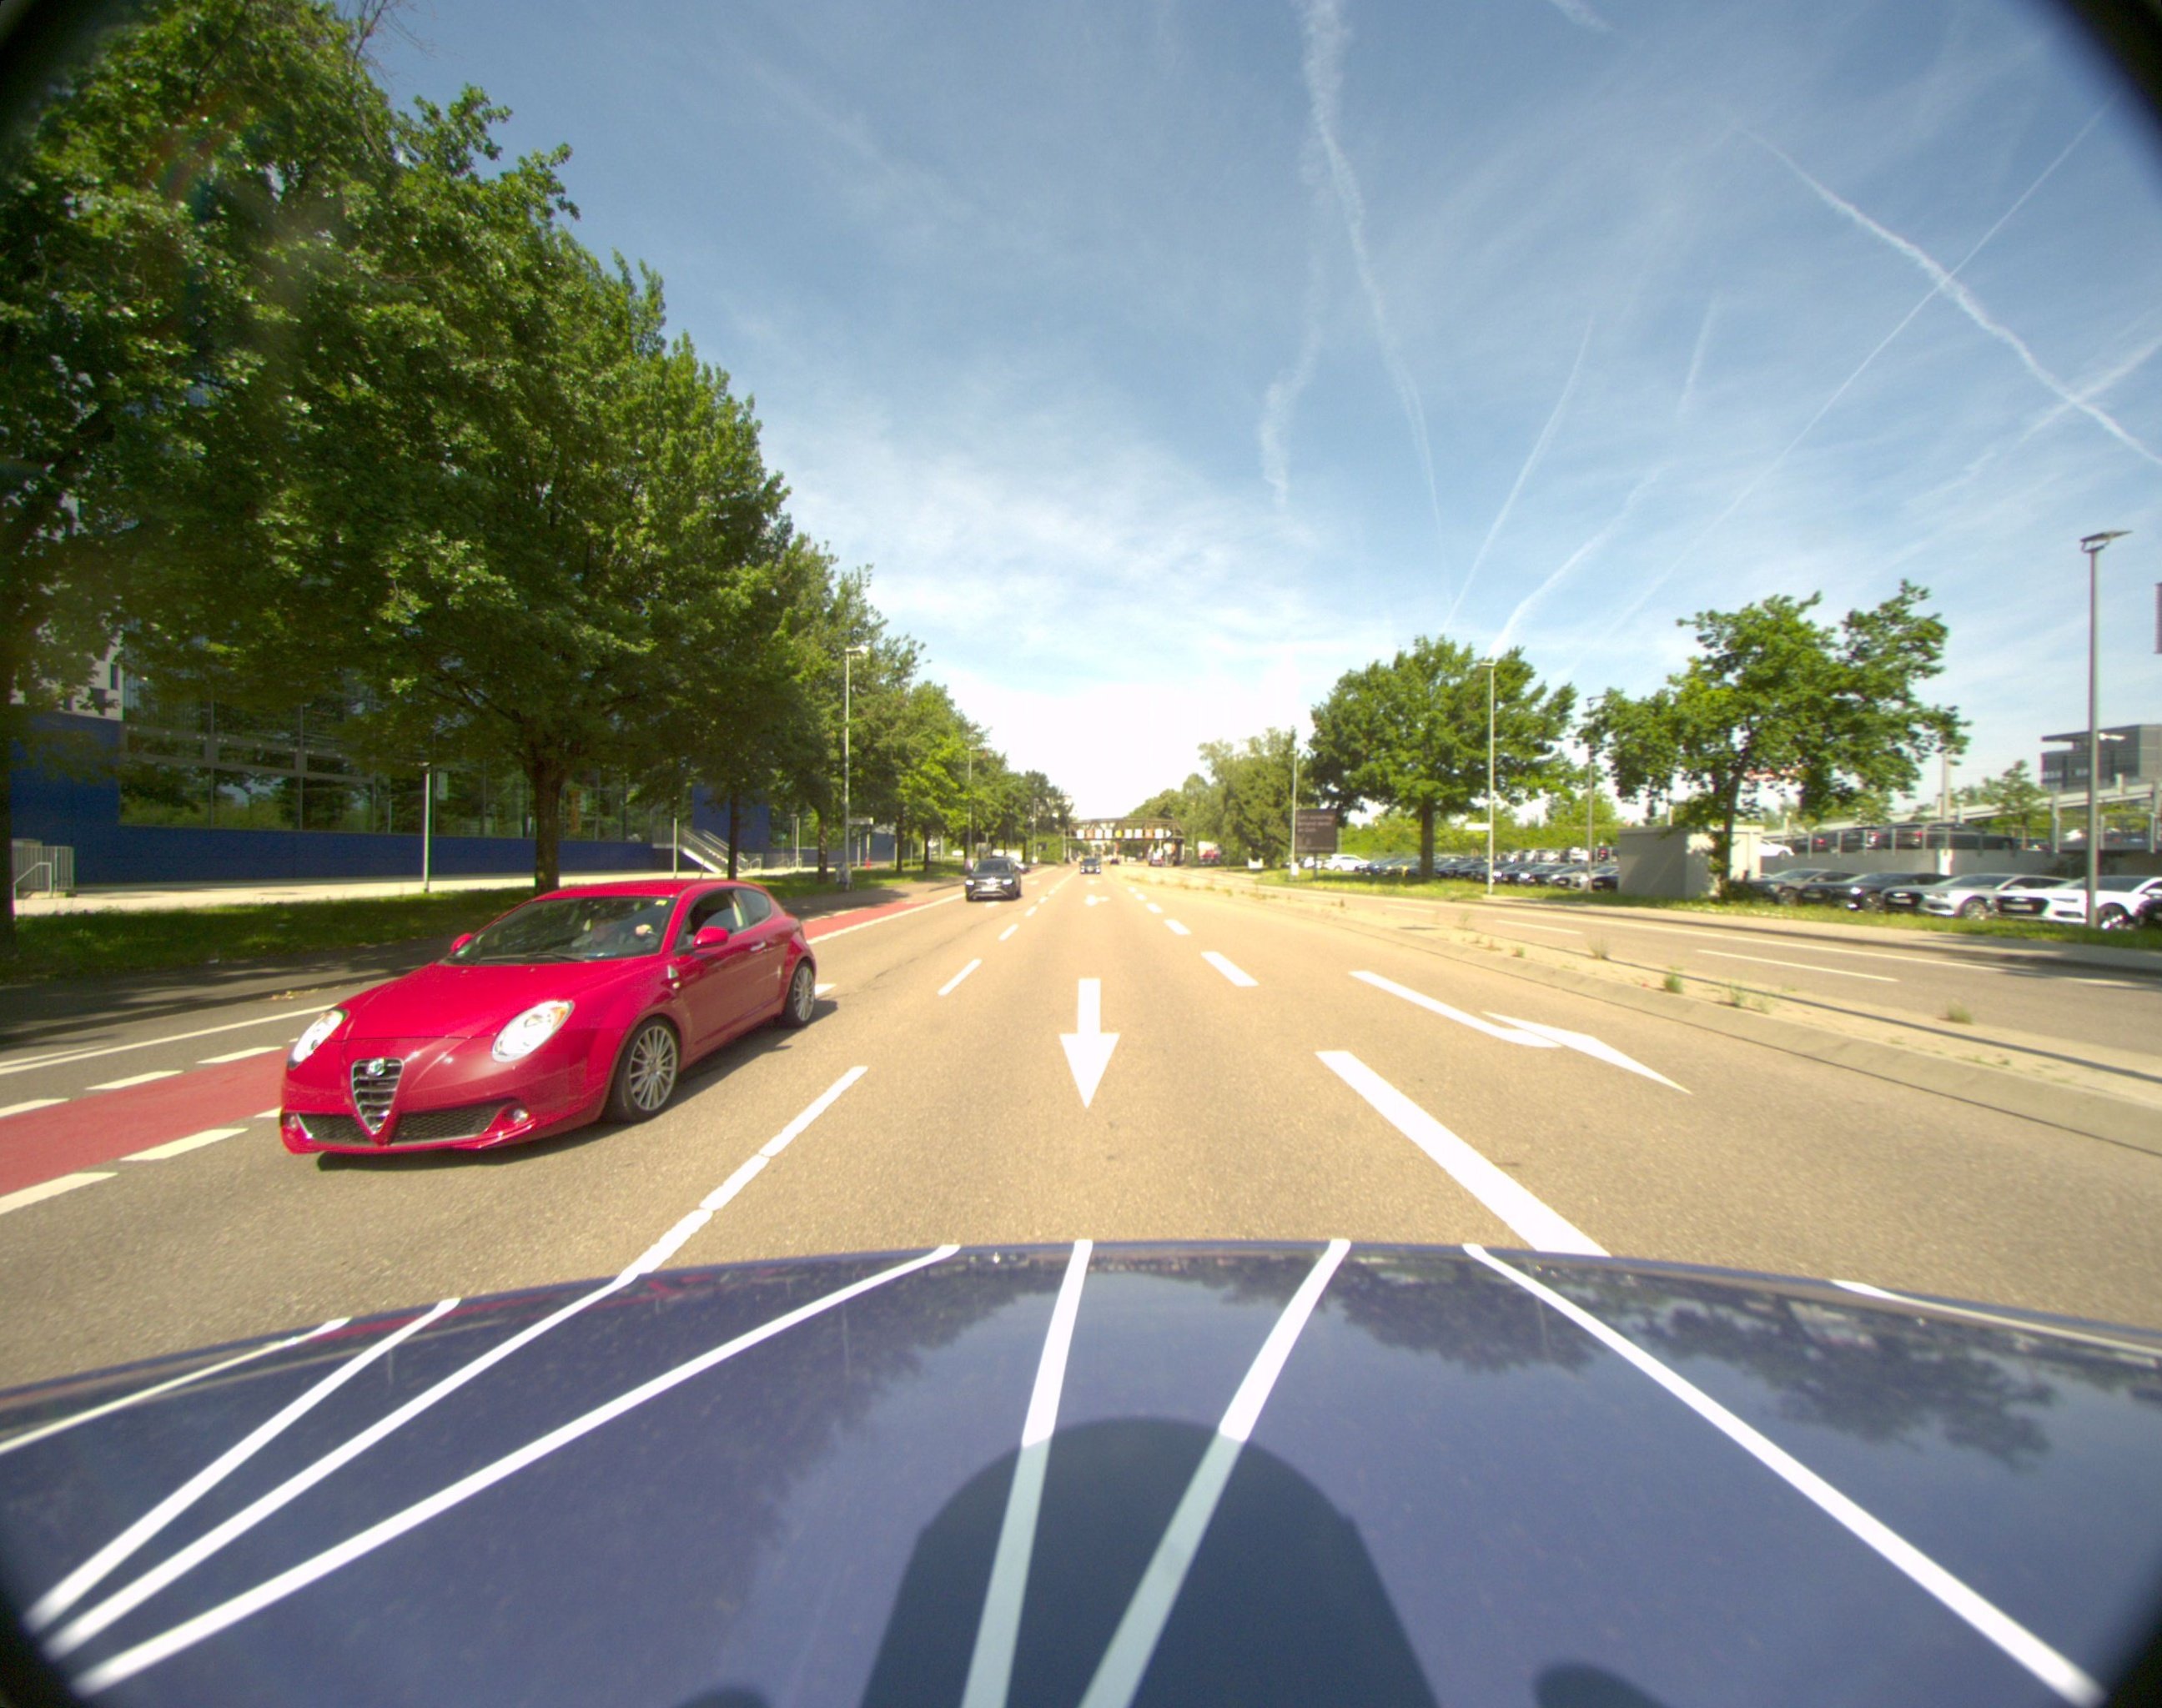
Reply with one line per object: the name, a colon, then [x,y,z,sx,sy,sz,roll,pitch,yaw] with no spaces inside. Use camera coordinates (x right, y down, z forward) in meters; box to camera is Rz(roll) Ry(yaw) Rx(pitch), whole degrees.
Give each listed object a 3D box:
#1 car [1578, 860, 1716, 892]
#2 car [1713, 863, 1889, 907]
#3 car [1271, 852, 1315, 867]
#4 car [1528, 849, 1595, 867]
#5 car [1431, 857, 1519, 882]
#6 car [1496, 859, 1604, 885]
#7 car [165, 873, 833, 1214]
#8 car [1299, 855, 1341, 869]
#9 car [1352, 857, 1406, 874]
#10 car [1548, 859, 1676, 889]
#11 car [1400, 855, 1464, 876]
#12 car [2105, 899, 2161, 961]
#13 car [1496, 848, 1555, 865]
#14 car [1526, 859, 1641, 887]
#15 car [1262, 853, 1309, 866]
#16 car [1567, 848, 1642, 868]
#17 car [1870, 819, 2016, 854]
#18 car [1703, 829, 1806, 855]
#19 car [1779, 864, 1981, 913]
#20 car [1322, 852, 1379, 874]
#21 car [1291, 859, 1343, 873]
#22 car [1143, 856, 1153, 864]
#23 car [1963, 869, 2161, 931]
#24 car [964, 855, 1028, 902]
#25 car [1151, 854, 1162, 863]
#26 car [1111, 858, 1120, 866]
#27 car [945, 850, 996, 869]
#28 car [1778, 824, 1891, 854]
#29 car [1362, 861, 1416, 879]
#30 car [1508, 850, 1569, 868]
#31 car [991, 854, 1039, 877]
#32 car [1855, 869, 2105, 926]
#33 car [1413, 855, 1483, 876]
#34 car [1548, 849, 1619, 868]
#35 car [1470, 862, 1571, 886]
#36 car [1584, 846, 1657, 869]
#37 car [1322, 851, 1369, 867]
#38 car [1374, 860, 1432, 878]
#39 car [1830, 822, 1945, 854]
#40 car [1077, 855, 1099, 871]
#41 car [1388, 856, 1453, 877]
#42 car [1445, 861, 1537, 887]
car: [24.291,0.916,32.725,4.511,1.282,1.919,0,0,-1]
car: [23.736,1.011,25.164,3.997,1.149,1.897,4,0,-1]
car: [22.816,0.583,81.949,4.224,1.537,2.000,-1,0,1]
car: [40.632,0.349,64.310,4.511,1.410,1.890,-1,0,-1]
car: [24.731,0.953,47.828,4.511,1.467,1.979,0,0,-1]
car: [24.539,0.947,39.849,4.511,1.282,1.919,0,0,-1]
car: [-3.390,0.949,5.578,1.798,1.446,3.978,-1,1,0]
car: [24.076,0.807,76.715,3.689,1.363,1.816,-1,0,1]
car: [24.860,0.968,63.433,3.801,1.278,1.744,-1,0,-1]
car: [24.332,0.901,34.918,4.511,1.282,2.004,0,0,-1]
car: [24.588,0.807,53.268,3.603,1.277,1.865,2,0,-1]
car: [23.485,1.646,14.893,4.185,1.183,1.955,4,0,-1]
car: [40.753,0.260,69.685,4.213,1.468,1.999,-1,0,-2]
car: [24.474,0.932,37.116,4.511,1.282,1.691,0,0,-1]
car: [22.843,0.606,84.885,4.698,1.381,2.000,-1,0,1]
car: [40.838,0.308,59.335,4.511,1.476,1.979,0,0,-1]
car: [40.061,-0.793,35.386,4.531,1.487,1.986,-1,0,1]
car: [40.606,-0.700,45.880,4.511,1.476,1.979,0,0,-1]
car: [23.647,0.992,22.609,3.997,1.149,1.897,4,0,-1]
car: [24.428,0.809,68.926,4.474,1.864,2.000,-1,0,2]
car: [24.709,1.261,79.769,4.863,1.261,2.000,-1,0,1]
car: [13.750,1.145,155.484,1.702,1.510,4.027,2,0,1]
car: [23.653,1.091,17.585,4.185,1.183,1.955,4,0,-1]
car: [-3.156,0.870,28.921,1.824,1.632,4.112,-1,0,2]
car: [14.349,0.853,145.041,1.998,1.608,4.105,2,0,5]
car: [7.177,1.690,159.070,1.785,1.438,4.120,1,1,1]
car: [-10.559,0.532,72.629,4.452,1.684,1.845,1,1,8]
car: [40.427,-0.805,40.847,3.997,1.487,2.051,-1,0,1]
car: [24.575,1.240,60.737,3.603,1.277,1.744,2,0,-1]
car: [40.307,0.398,67.044,4.213,1.468,1.999,-1,0,-2]
car: [-6.221,1.086,71.367,3.992,2.002,2.002,-1,0,15]
car: [23.737,1.128,20.204,4.185,1.149,2.087,4,0,-1]
car: [24.412,0.744,50.652,3.689,1.277,1.985,2,0,-1]
car: [40.755,0.339,61.674,4.511,1.476,1.979,0,0,-1]
car: [24.566,1.102,42.576,4.511,1.282,1.919,0,0,-1]
car: [40.437,0.274,57.027,4.279,1.695,1.664,0,1,-1]
car: [25.763,0.468,74.033,3.995,1.477,1.848,-1,0,4]
car: [24.627,1.141,58.195,3.752,1.277,1.663,2,0,-1]
car: [40.491,-0.807,38.212,3.997,1.487,1.668,-1,0,1]
car: [0.642,0.813,69.748,1.888,1.427,4.000,-1,0,1]
car: [24.847,0.888,55.643,3.897,1.332,1.840,2,0,-1]
car: [24.621,1.204,45.745,4.511,1.467,1.919,0,0,-1]
